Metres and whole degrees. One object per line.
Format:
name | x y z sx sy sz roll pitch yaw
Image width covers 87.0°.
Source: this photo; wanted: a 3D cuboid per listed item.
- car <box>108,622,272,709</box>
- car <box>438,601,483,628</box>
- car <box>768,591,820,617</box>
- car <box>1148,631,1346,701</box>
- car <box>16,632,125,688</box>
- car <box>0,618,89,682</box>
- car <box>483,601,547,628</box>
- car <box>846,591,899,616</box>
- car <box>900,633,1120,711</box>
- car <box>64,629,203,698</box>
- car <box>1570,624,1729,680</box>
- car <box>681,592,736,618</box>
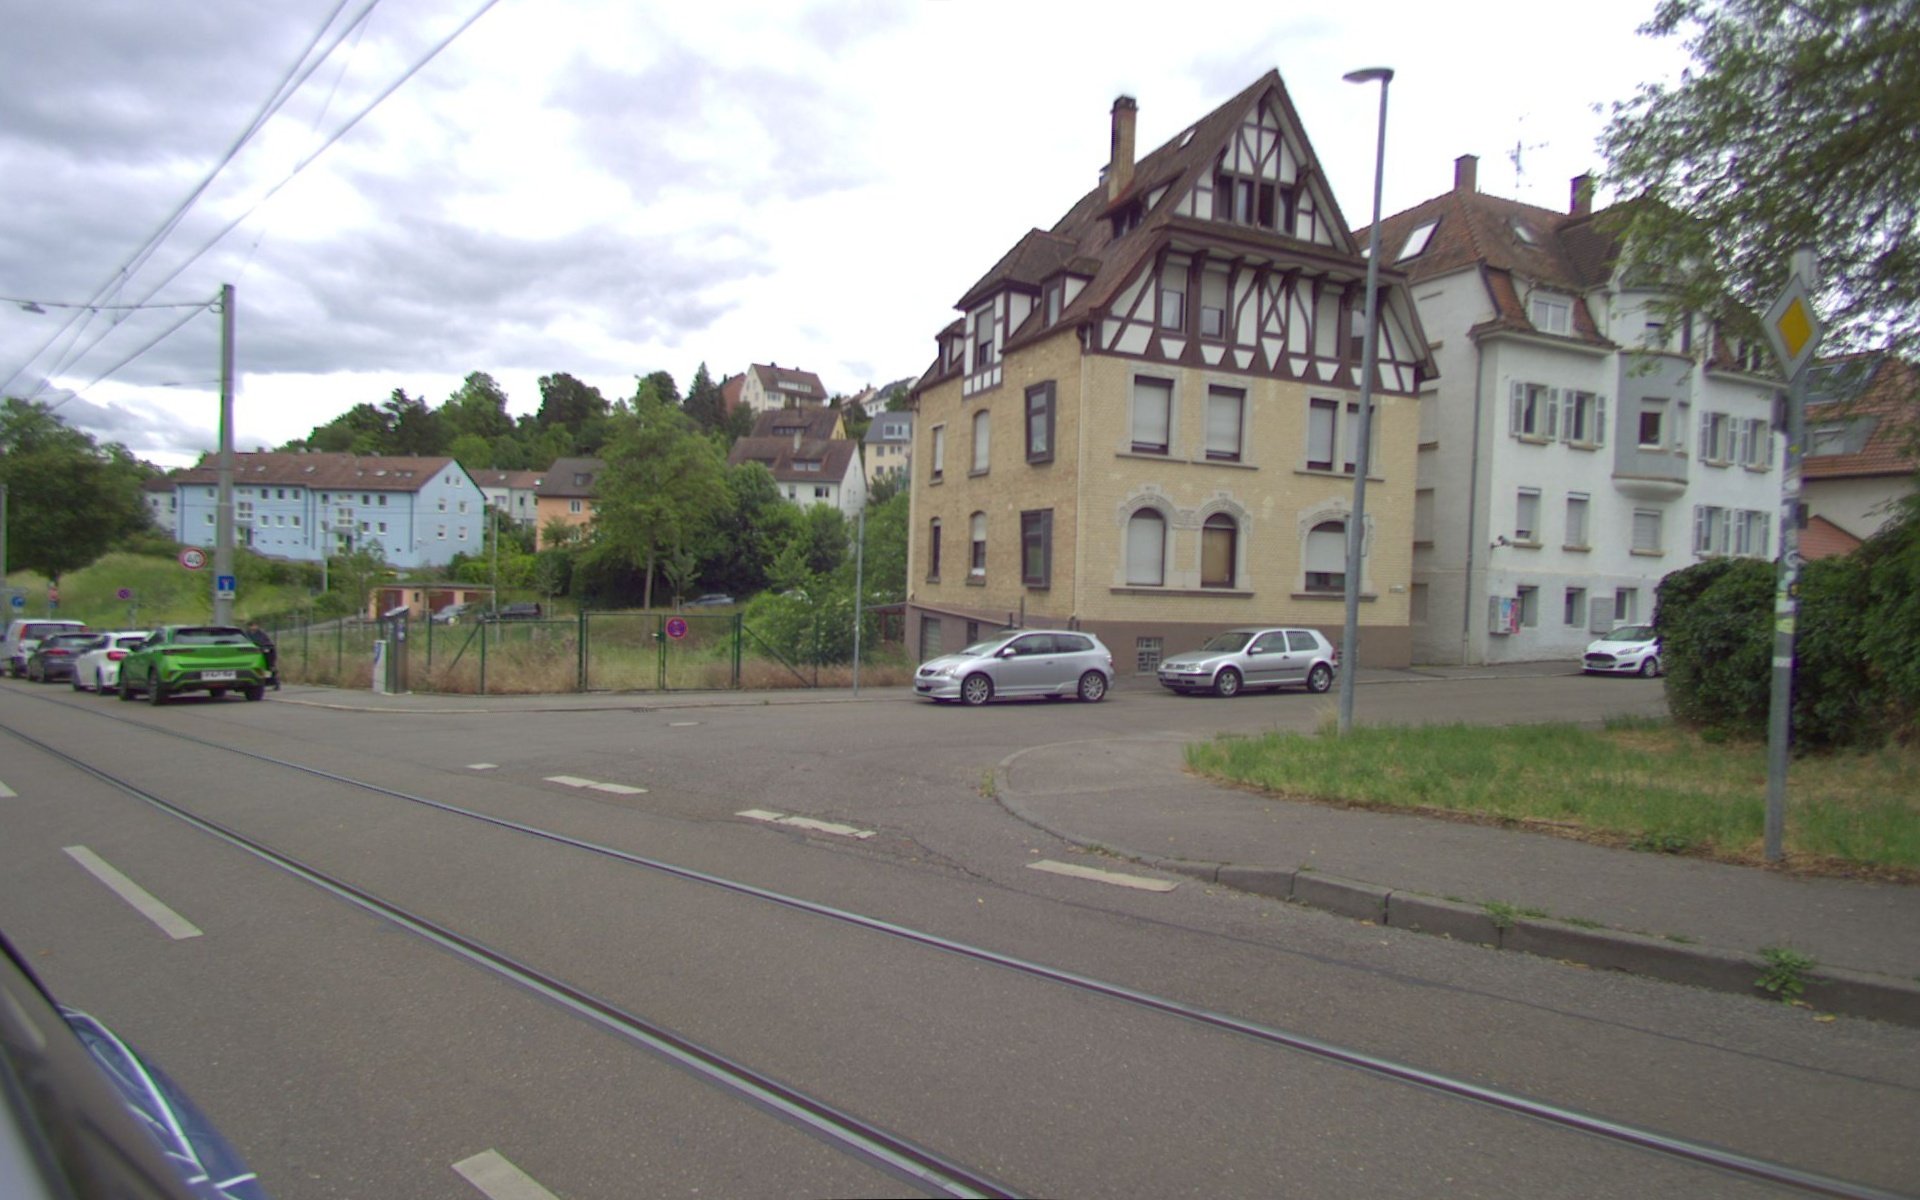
car | -15.503 1.250 20.313 3.945 1.552 1.832 -2 -2 41
car | -36.776 1.099 74.559 1.967 1.918 4.009 0 -1 -10
car | -12.840 0.335 78.149 3.935 1.918 2.004 0 -1 -10
car | 6.207 1.369 21.874 3.979 1.388 1.701 1 -2 -25
car | -26.123 1.722 29.692 3.946 1.505 1.832 -1 -4 41
car | -30.131 1.611 33.032 4.288 1.961 1.877 -1 -4 41
car | -32.475 1.049 74.001 3.935 1.918 2.004 0 -1 -10
car | -6.918 0.291 79.527 3.935 1.918 2.004 0 -1 -10
car | 0.977 1.348 19.703 3.944 1.388 1.701 1 -2 -25
car | -19.610 1.455 23.956 3.946 1.505 1.832 -1 -4 41
car | 18.640 1.378 27.369 3.791 1.413 1.701 1 -2 -22
car | -19.068 0.381 76.733 3.935 1.918 2.004 0 -1 -10
